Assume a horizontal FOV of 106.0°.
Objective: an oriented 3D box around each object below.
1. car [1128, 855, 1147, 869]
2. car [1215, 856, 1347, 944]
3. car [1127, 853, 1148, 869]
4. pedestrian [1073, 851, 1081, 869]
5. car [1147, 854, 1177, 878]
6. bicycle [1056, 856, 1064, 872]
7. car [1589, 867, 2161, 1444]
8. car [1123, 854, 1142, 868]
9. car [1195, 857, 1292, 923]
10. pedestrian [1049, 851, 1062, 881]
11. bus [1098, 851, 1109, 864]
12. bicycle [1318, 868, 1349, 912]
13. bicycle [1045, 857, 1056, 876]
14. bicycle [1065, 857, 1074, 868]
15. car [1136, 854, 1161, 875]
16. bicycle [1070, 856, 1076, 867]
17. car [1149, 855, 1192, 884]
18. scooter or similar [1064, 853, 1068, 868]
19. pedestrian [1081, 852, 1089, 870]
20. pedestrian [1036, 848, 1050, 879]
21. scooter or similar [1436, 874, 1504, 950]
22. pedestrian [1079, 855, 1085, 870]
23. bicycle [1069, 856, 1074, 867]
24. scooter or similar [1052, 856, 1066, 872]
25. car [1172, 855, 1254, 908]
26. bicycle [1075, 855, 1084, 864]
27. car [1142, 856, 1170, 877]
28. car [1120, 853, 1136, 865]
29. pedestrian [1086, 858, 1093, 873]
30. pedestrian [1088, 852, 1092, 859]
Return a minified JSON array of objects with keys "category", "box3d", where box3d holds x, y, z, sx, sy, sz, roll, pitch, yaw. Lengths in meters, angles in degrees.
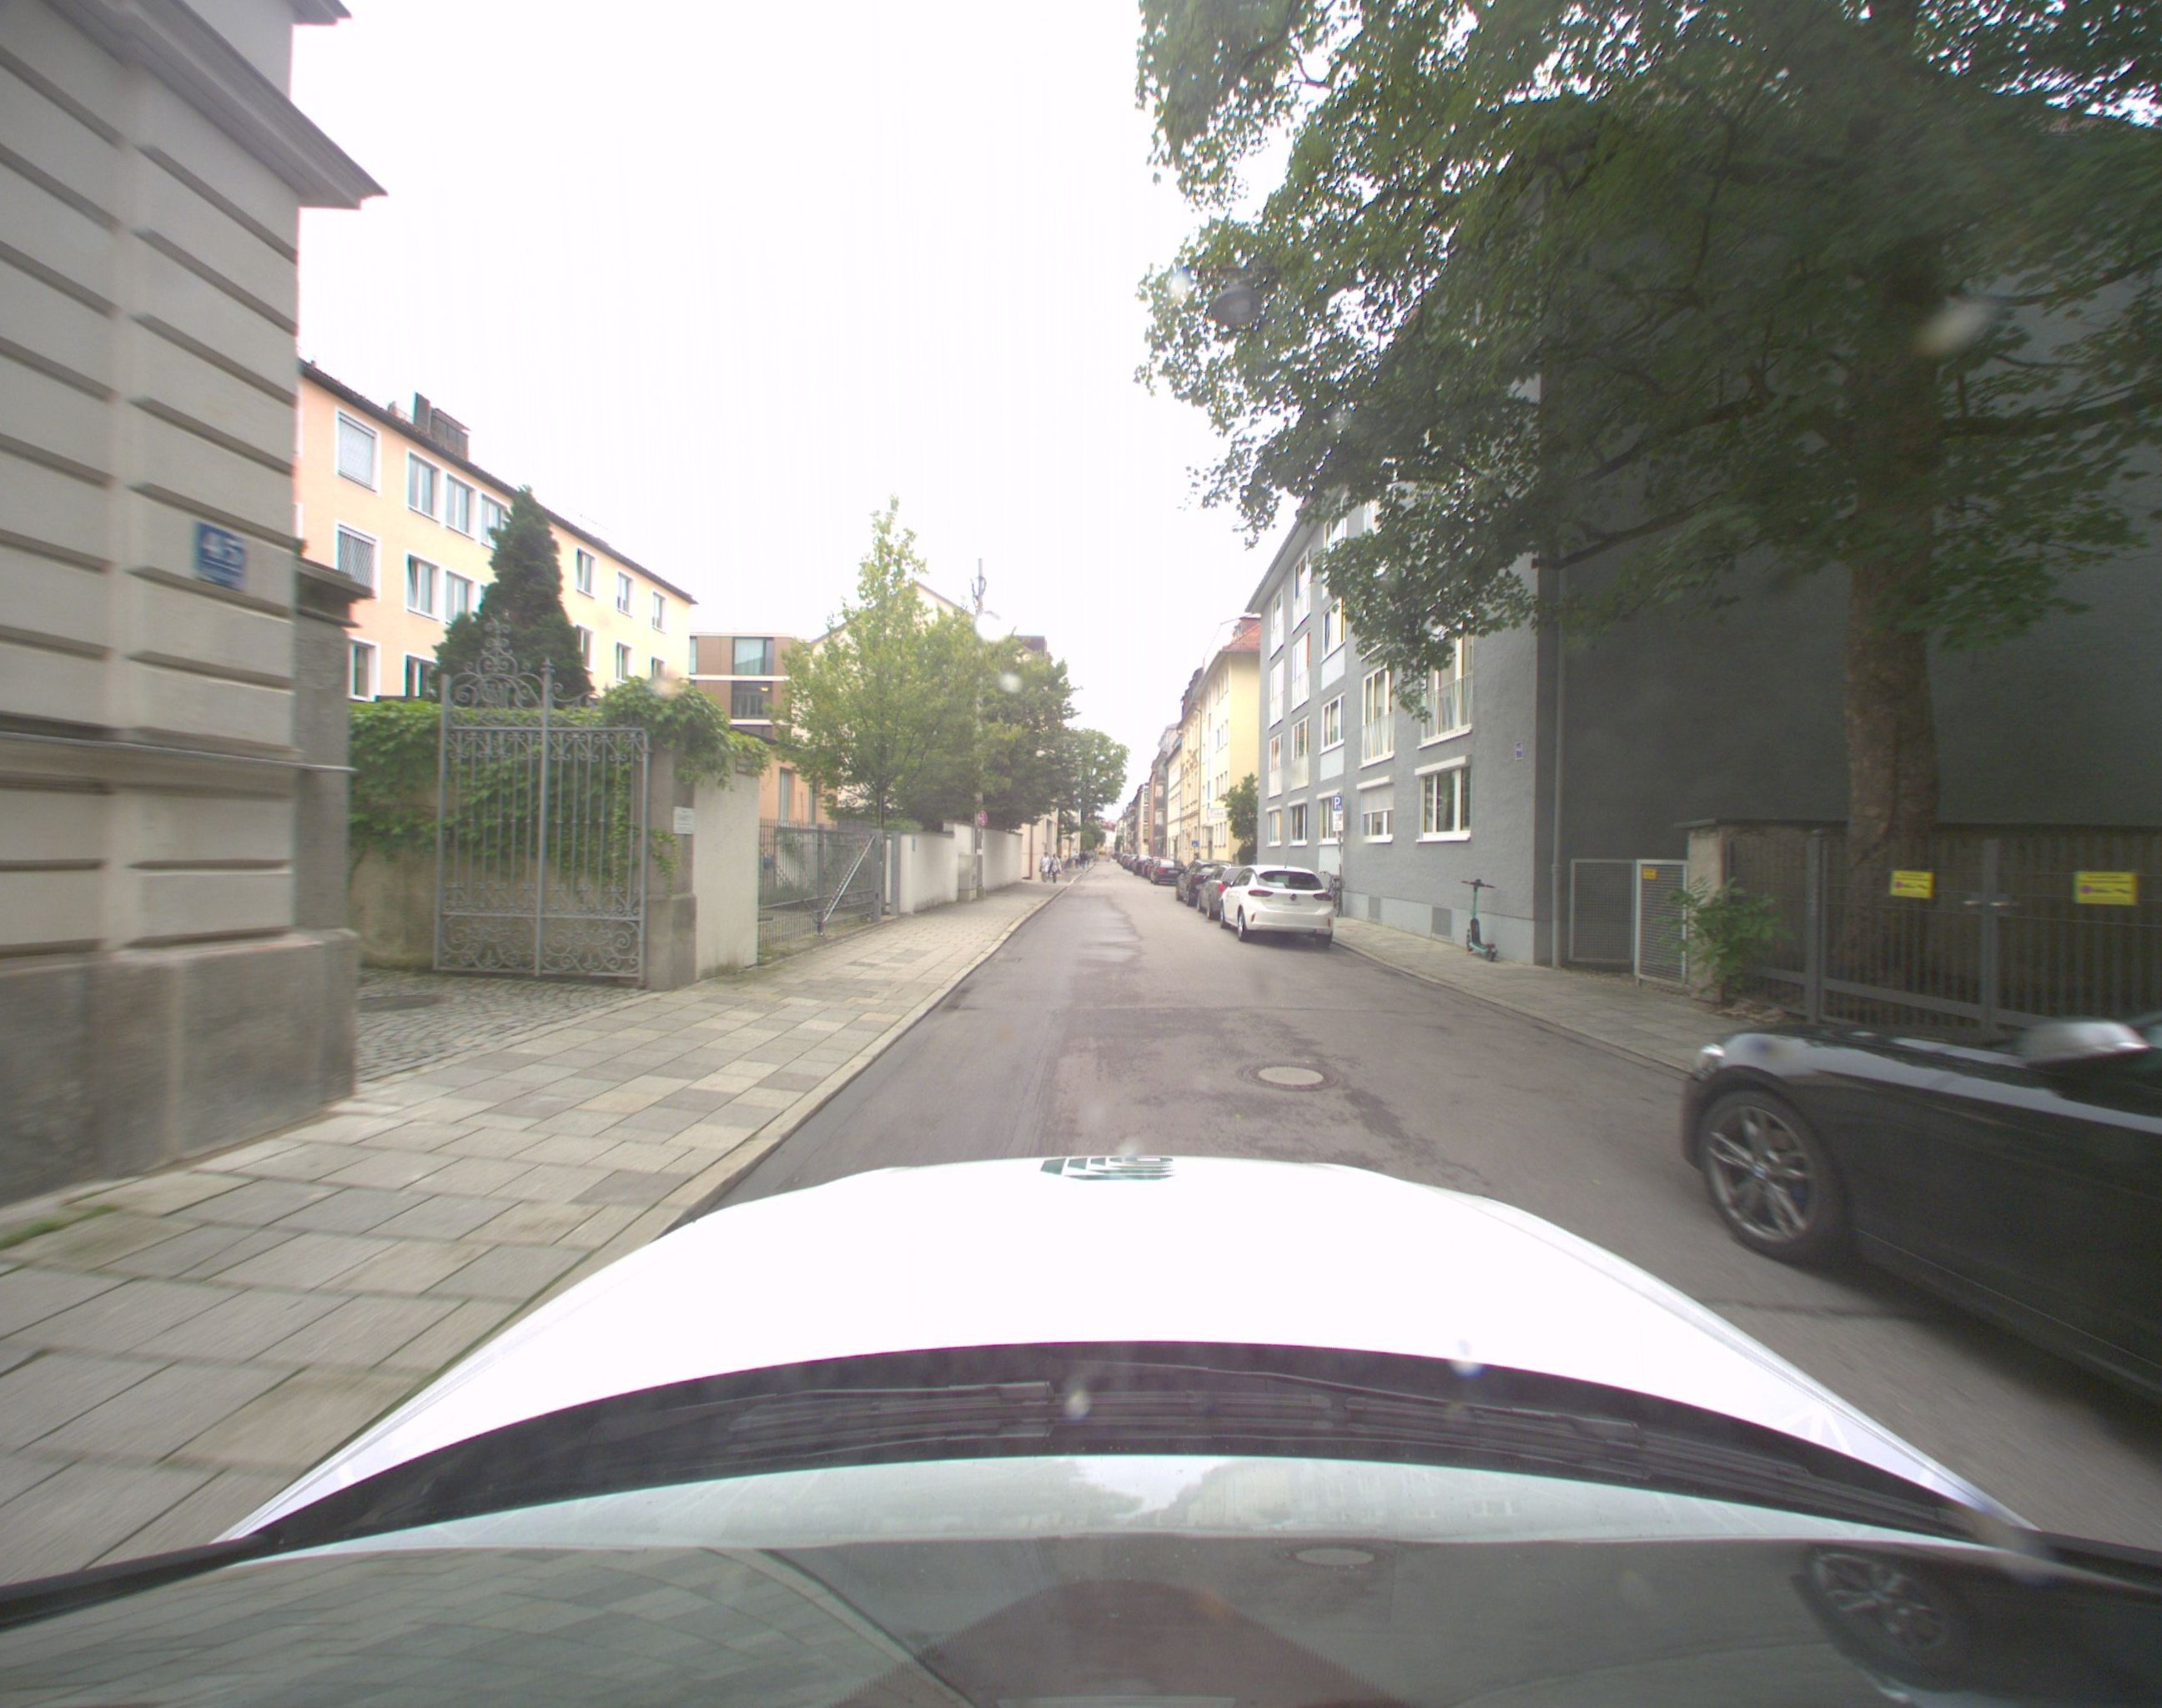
[{"category":"car","box3d":[5.550,0.800,80.071,1.801,1.363,3.947,0,0,2]},{"category":"car","box3d":[3.941,0.827,16.808,1.762,1.445,4.347,4,0,3]},{"category":"car","box3d":[5.828,0.679,84.989,1.869,1.570,4.315,-1,0,0]},{"category":"pedestrian","box3d":[-0.402,0.610,82.443,0.715,1.796,0.917,2,-1,2]},{"category":"car","box3d":[5.278,0.758,53.446,1.670,1.492,3.854,1,0,1]},{"category":"bicycle","box3d":[-1.630,0.754,63.213,0.542,1.161,1.882,2,0,0]},{"category":"car","box3d":[3.578,0.789,1.988,1.849,1.374,4.509,3,0,0]},{"category":"car","box3d":[5.659,0.743,89.879,1.833,1.528,4.293,1,0,1]},{"category":"car","box3d":[4.163,0.861,21.496,1.782,1.401,4.488,4,0,3]},{"category":"pedestrian","box3d":[-1.338,0.619,43.186,0.620,1.579,0.714,2,-1,1]},{"category":"bus","box3d":[5.514,0.880,197.074,2.583,3.102,6.308,0,-1,2]},{"category":"bicycle","box3d":[6.782,0.945,21.911,0.376,1.110,1.687,0,0,2]},{"category":"bicycle","box3d":[-1.830,0.755,49.568,0.536,1.139,1.917,2,0,1]},{"category":"bicycle","box3d":[-1.107,0.809,78.277,0.702,0.984,1.821,5,0,-2]},{"category":"car","box3d":[5.332,0.804,64.602,1.695,1.607,4.686,1,0,1]},{"category":"bicycle","box3d":[-0.874,0.791,88.137,0.560,1.159,1.718,1,-1,-4]},{"category":"car","box3d":[4.768,0.783,43.702,1.819,1.334,4.509,4,0,1]},{"category":"scooter or similar","box3d":[-1.389,0.611,76.551,0.316,1.376,1.239,0,-1,2]},{"category":"pedestrian","box3d":[0.440,0.715,82.405,0.715,1.765,0.838,2,-1,2]},{"category":"pedestrian","box3d":[-2.010,0.503,43.146,0.611,1.621,0.688,3,-1,2]},{"category":"scooter or similar","box3d":[6.433,0.935,13.525,0.503,1.174,1.377,0,-1,3]},{"category":"pedestrian","box3d":[0.111,1.020,95.776,0.610,1.713,0.823,2,-1,1]},{"category":"bicycle","box3d":[-1.004,0.778,86.423,0.456,1.159,1.606,3,0,3]},{"category":"scooter or similar","box3d":[-1.646,0.752,61.147,0.547,1.144,1.364,3,0,18]},{"category":"car","box3d":[4.171,0.808,26.362,1.835,1.428,4.263,4,0,0]},{"category":"bicycle","box3d":[-0.211,0.791,111.101,0.643,1.217,1.655,0,-1,-17]},{"category":"car","box3d":[5.312,0.843,58.065,1.670,1.393,4.067,1,0,1]},{"category":"car","box3d":[6.606,0.721,114.539,1.880,1.555,4.390,1,0,0]},{"category":"pedestrian","box3d":[0.985,1.356,95.678,0.750,1.659,0.907,2,-1,2]},{"category":"pedestrian","box3d":[1.787,0.280,157.806,0.753,1.491,0.831,0,-1,2]}]
